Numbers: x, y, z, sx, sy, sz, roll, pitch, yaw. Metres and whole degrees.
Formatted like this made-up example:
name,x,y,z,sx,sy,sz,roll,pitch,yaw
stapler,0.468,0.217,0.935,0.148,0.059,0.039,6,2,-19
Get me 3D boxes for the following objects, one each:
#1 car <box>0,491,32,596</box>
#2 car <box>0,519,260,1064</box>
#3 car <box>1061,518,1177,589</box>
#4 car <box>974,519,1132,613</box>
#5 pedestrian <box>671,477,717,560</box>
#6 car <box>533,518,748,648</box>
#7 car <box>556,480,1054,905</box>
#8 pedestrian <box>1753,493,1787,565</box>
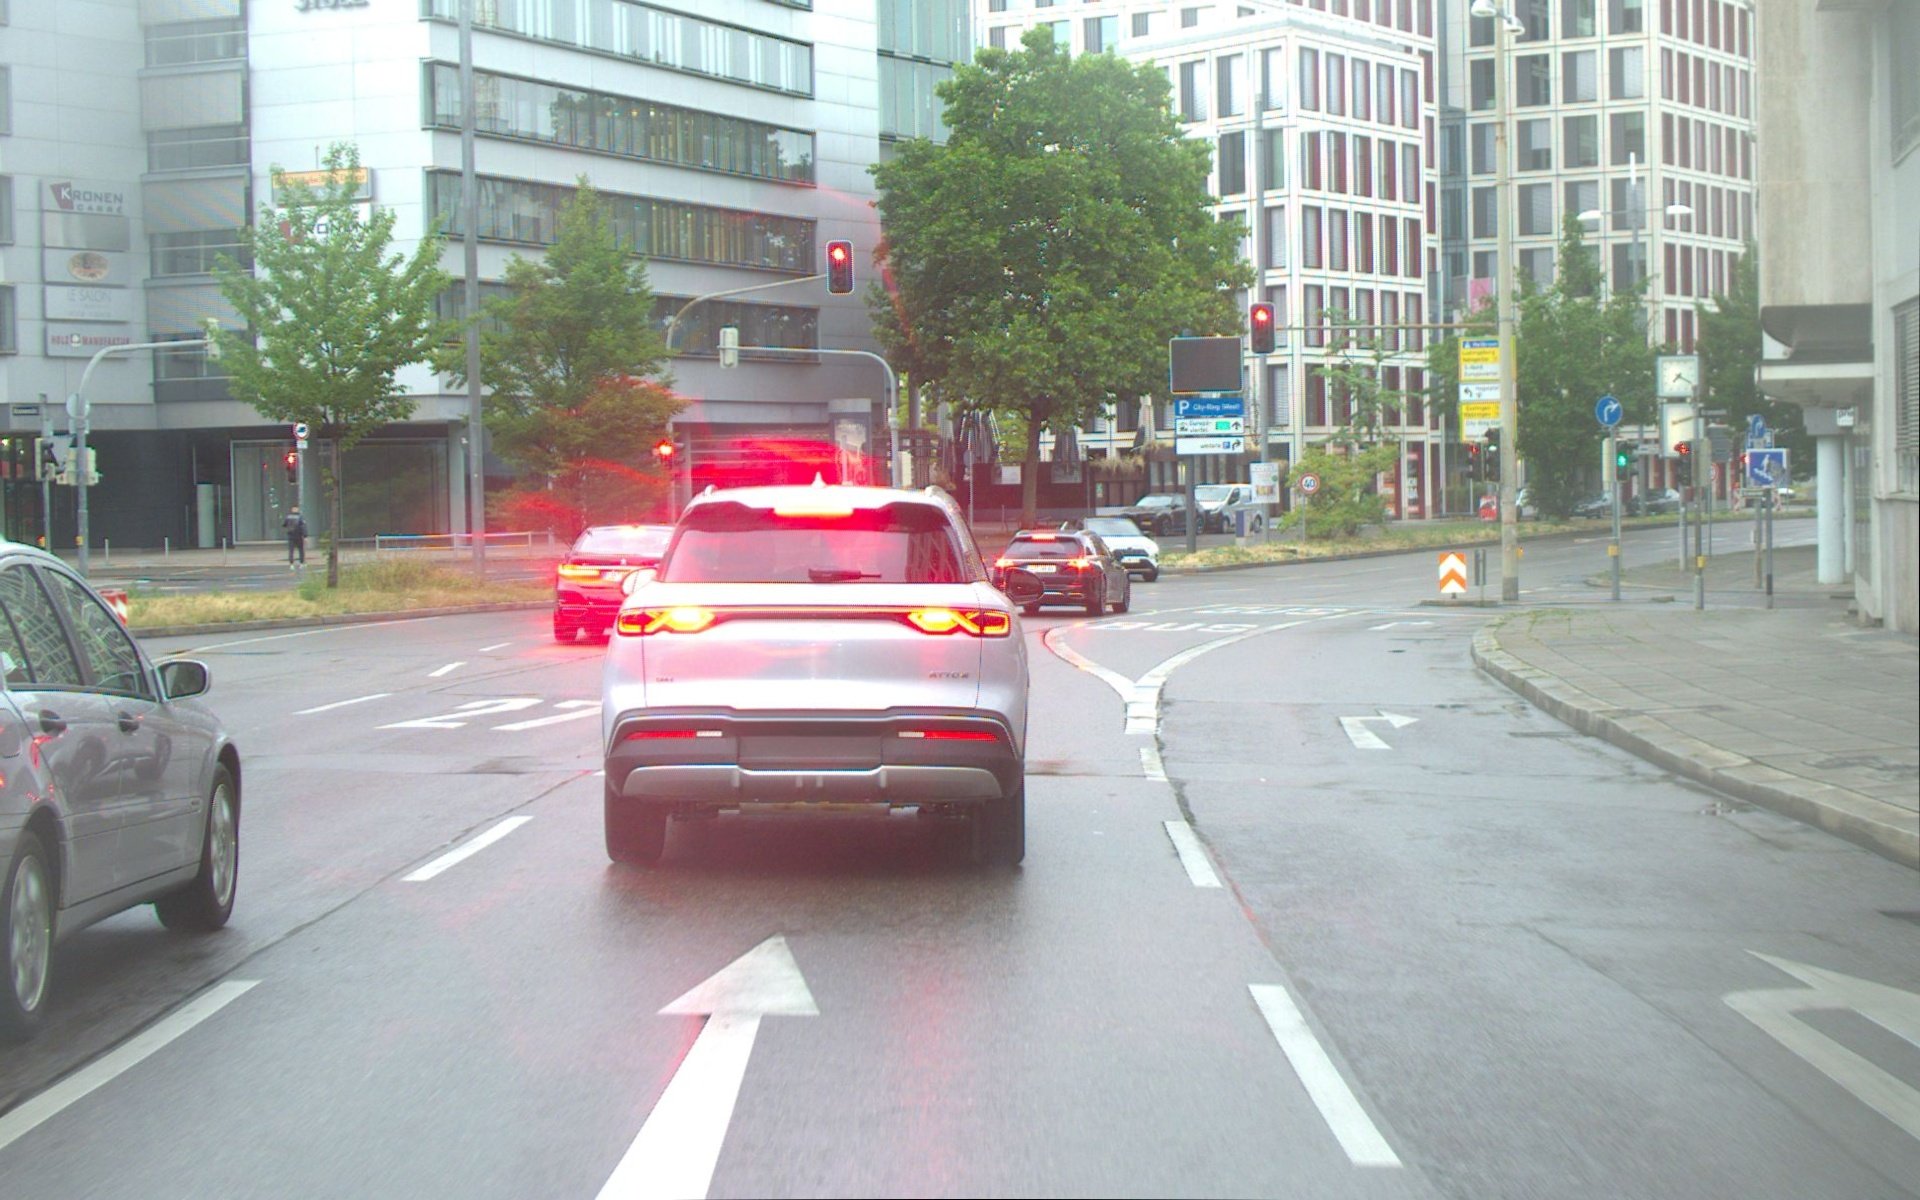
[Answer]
name,x,y,z,sx,sy,sz,roll,pitch,yaw
car,-16.810,-0.907,55.032,1.738,1.722,4.491,1,2,15
car,-3.487,0.508,10.744,1.682,1.481,4.197,0,2,1
car,4.099,-1.236,89.323,1.993,1.744,4.533,0,2,-11
car,1.647,-0.618,59.581,1.956,1.524,3.998,1,2,13
pedestrian,-5.531,-1.699,71.631,0.922,1.732,0.730,0,2,-3
car,-3.967,-0.253,43.371,1.955,1.524,3.999,0,2,6
car,-0.673,0.299,16.085,1.993,1.703,4.483,0,2,-1
pedestrian,18.921,-1.660,80.319,0.728,1.663,0.690,0,1,18
